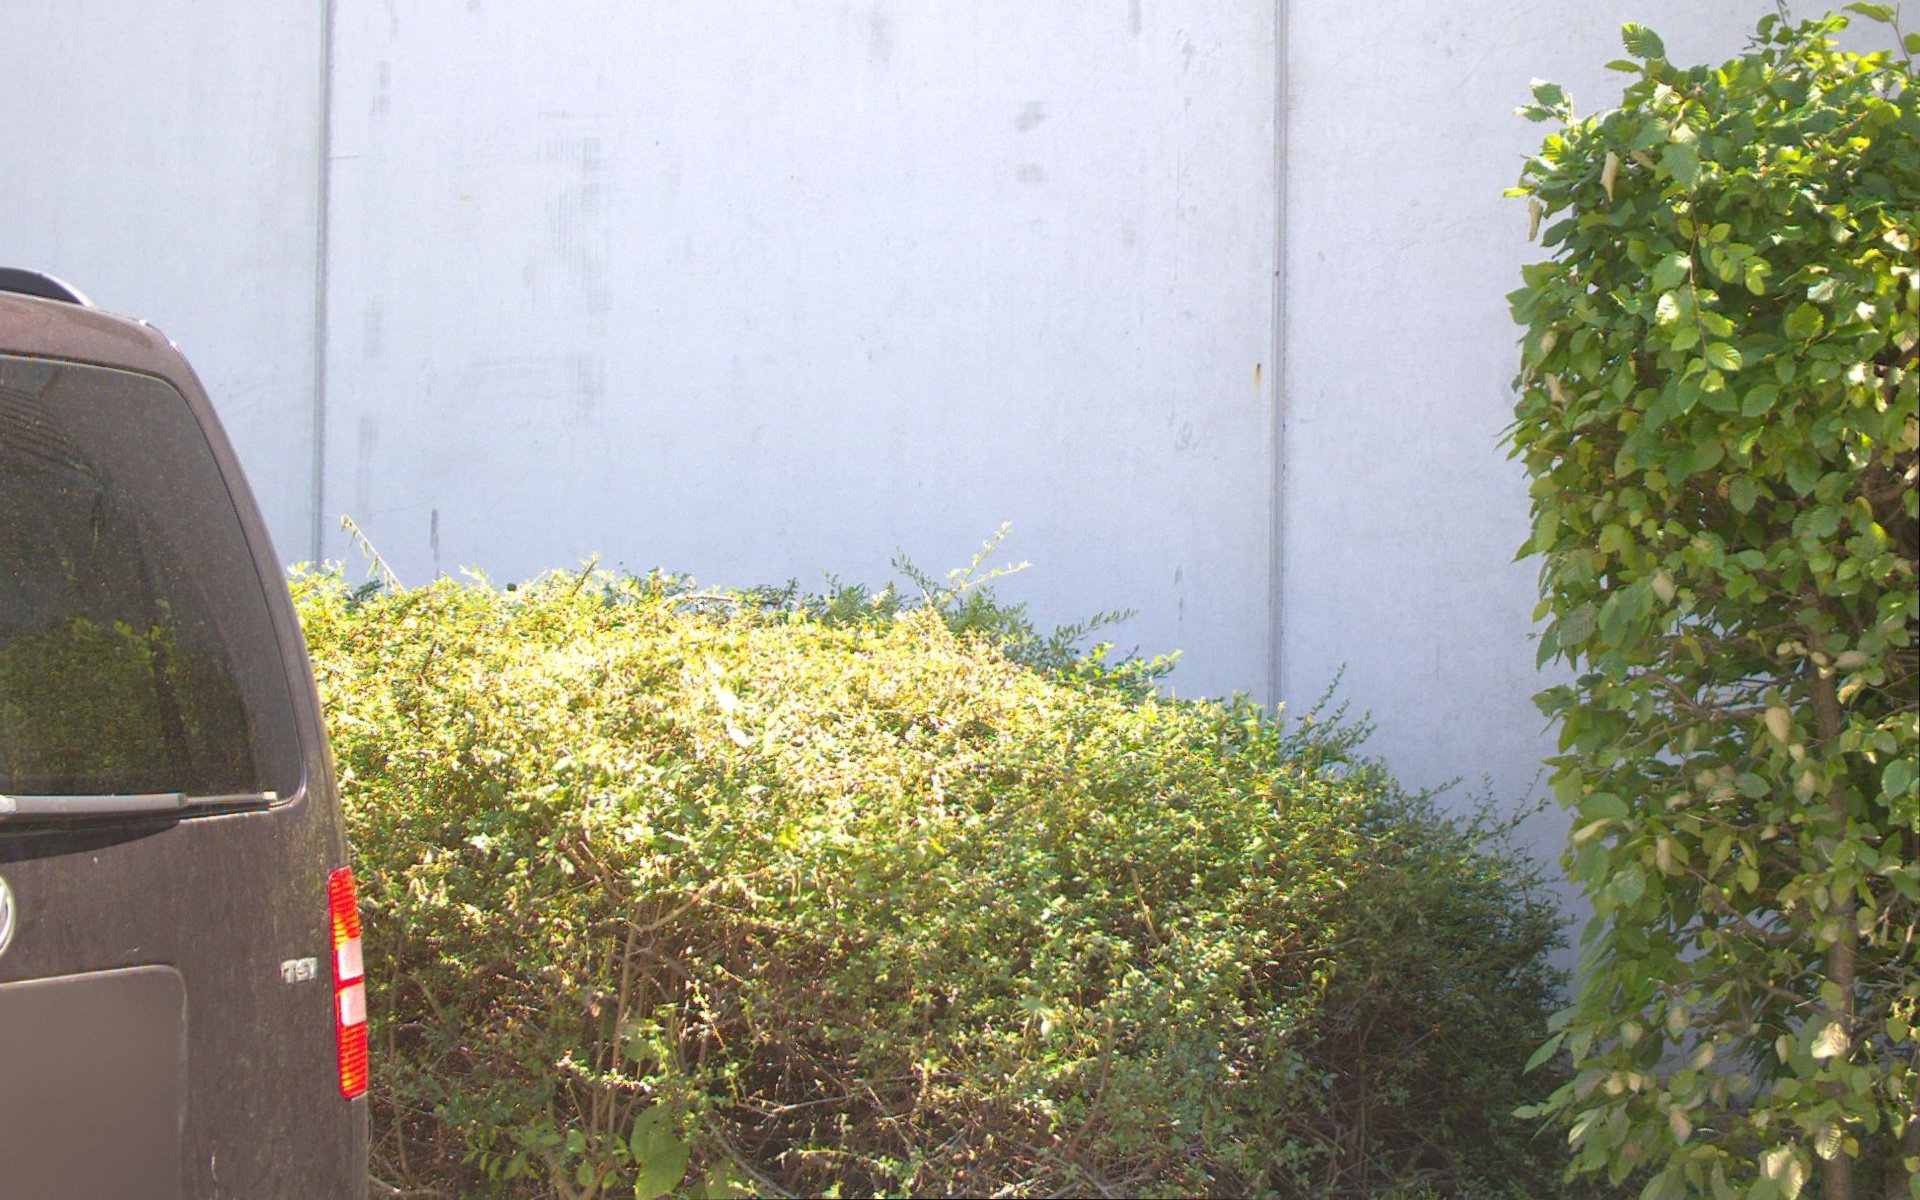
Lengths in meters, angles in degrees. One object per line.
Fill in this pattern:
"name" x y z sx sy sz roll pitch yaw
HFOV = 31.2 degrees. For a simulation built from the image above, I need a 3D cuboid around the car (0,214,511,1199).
"car" -2.739 0.491 4.940 4.066 1.877 1.675 1 1 34
